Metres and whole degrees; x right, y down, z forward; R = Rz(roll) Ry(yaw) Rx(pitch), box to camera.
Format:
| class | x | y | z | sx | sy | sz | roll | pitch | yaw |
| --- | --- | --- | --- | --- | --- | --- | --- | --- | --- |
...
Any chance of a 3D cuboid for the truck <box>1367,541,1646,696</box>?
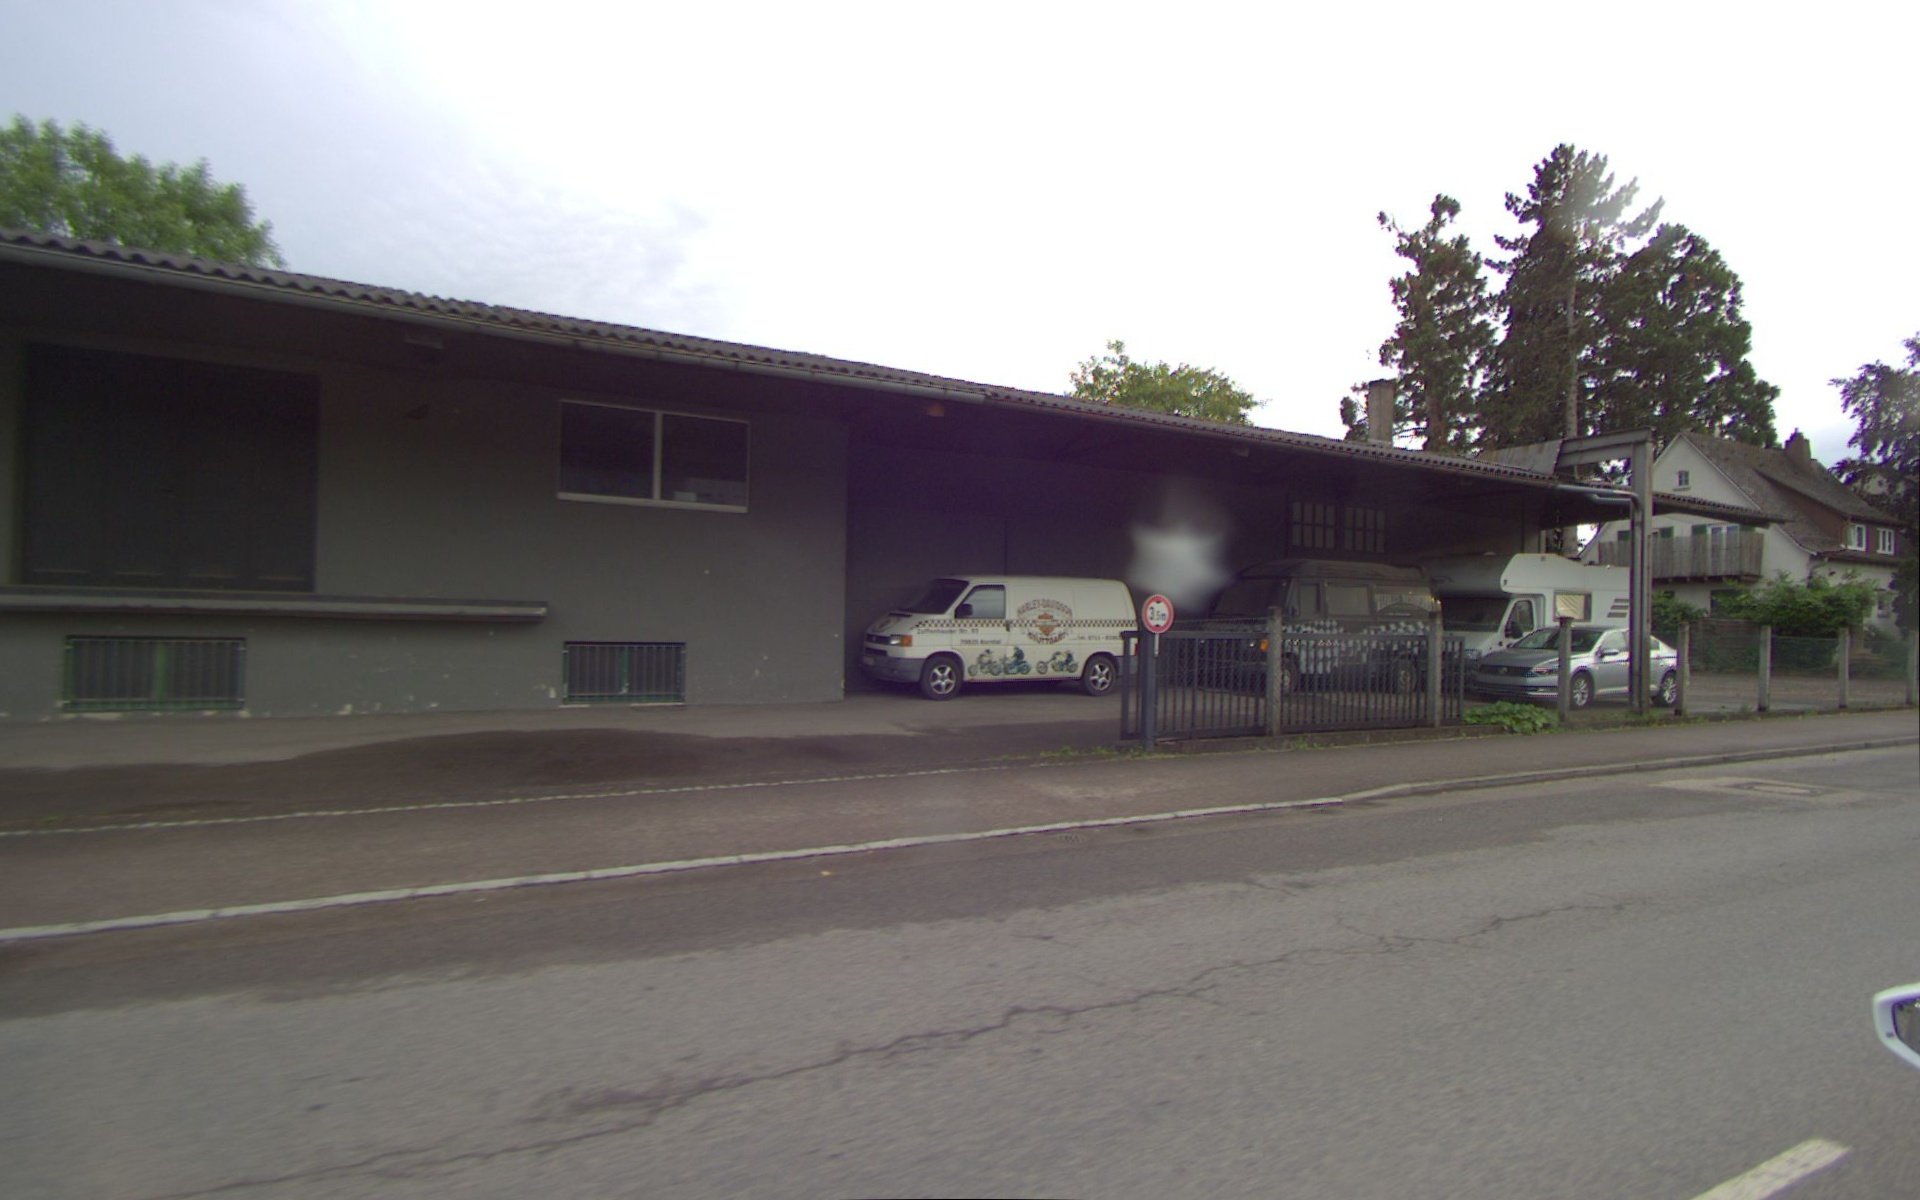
| class | x | y | z | sx | sy | sz | roll | pitch | yaw |
| --- | --- | --- | --- | --- | --- | --- | --- | --- | --- |
| truck | 11.845 | 0.456 | 21.678 | 5.884 | 2.966 | 2.384 | 3 | 0 | -29 |

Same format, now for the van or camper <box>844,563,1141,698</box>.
| class | x | y | z | sx | sy | sz | roll | pitch | yaw |
| --- | --- | --- | --- | --- | --- | --- | --- | --- | --- |
| van or camper | 0.569 | 0.485 | 16.351 | 4.420 | 1.934 | 1.983 | 2 | 1 | -31 |

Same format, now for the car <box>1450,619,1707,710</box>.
| class | x | y | z | sx | sy | sz | roll | pitch | yaw |
| --- | --- | --- | --- | --- | --- | --- | --- | --- | --- |
| car | 11.434 | 1.175 | 18.513 | 4.723 | 1.463 | 1.928 | 3 | -1 | -29 |

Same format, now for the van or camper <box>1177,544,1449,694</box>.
| class | x | y | z | sx | sy | sz | roll | pitch | yaw |
| --- | --- | --- | --- | --- | --- | --- | --- | --- | --- |
| van or camper | 6.793 | 0.400 | 19.143 | 5.173 | 2.469 | 1.850 | 4 | 1 | -30 |
